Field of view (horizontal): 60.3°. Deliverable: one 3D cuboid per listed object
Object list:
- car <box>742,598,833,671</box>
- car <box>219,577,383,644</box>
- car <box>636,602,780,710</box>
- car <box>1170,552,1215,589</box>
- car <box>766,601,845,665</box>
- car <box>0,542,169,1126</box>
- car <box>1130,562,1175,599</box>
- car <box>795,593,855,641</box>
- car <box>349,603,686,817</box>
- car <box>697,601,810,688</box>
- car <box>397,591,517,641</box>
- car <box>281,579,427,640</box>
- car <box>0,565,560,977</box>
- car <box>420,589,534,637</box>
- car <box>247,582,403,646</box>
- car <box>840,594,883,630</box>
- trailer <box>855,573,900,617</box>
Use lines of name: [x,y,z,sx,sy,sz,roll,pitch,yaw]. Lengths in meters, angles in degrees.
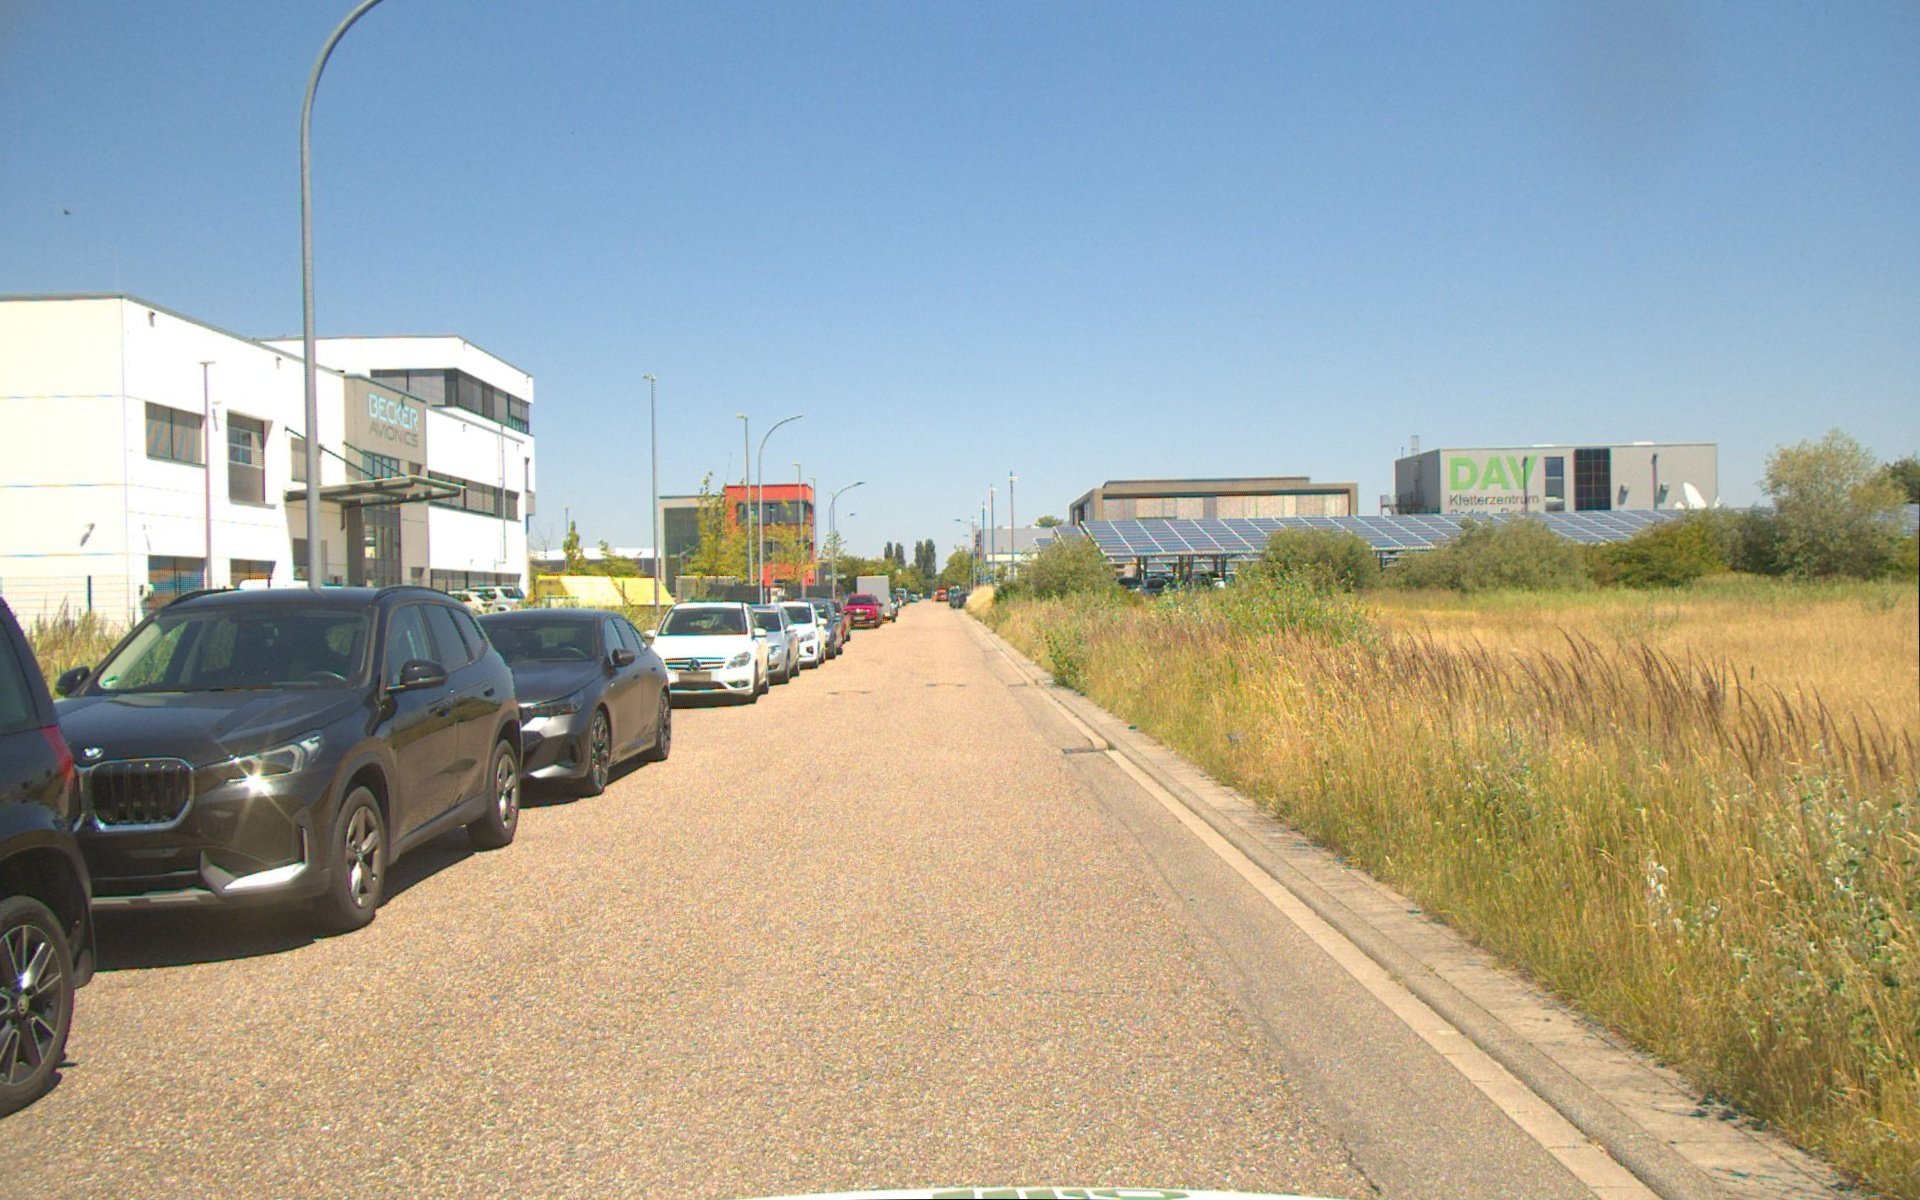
car: [-3.993,0.772,38.841,1.750,1.547,3.982,-2,0,-1]
car: [-21.290,0.335,53.542,4.436,1.977,2.031,-2,0,-1]
car: [-4.031,0.843,27.009,1.750,1.547,3.982,-2,0,-1]
car: [13.363,-1.673,95.238,1.953,2.049,3.999,-2,0,-1]
car: [-4.067,0.845,44.083,1.750,1.547,3.982,-2,0,-1]
car: [-3.608,0.710,3.706,1.643,1.692,4.235,-2,0,-1]
car: [11.038,-1.086,95.056,1.953,2.049,3.999,-2,0,-1]
car: [-4.565,0.553,56.509,1.750,1.547,3.982,-2,0,-1]
car: [-3.746,0.834,14.974,1.733,1.512,5.013,-2,0,-1]
car: [-4.049,0.828,32.977,1.750,1.547,3.982,-2,0,-1]
car: [-21.560,0.673,71.003,4.436,1.977,2.031,-2,0,-1]
car: [-21.640,0.334,59.184,4.436,1.977,2.031,-2,0,-1]
car: [-3.647,0.713,9.259,1.733,1.692,4.551,-2,0,-1]
car: [-21.545,0.559,73.853,4.436,1.977,2.031,-2,0,-1]
car: [-21.514,0.464,56.187,4.436,1.977,2.031,-2,0,-1]
car: [-4.503,0.528,75.732,1.750,1.547,3.981,-2,0,-1]
trailer: [-4.308,-0.268,87.177,2.156,2.175,4.284,-2,0,-1]
